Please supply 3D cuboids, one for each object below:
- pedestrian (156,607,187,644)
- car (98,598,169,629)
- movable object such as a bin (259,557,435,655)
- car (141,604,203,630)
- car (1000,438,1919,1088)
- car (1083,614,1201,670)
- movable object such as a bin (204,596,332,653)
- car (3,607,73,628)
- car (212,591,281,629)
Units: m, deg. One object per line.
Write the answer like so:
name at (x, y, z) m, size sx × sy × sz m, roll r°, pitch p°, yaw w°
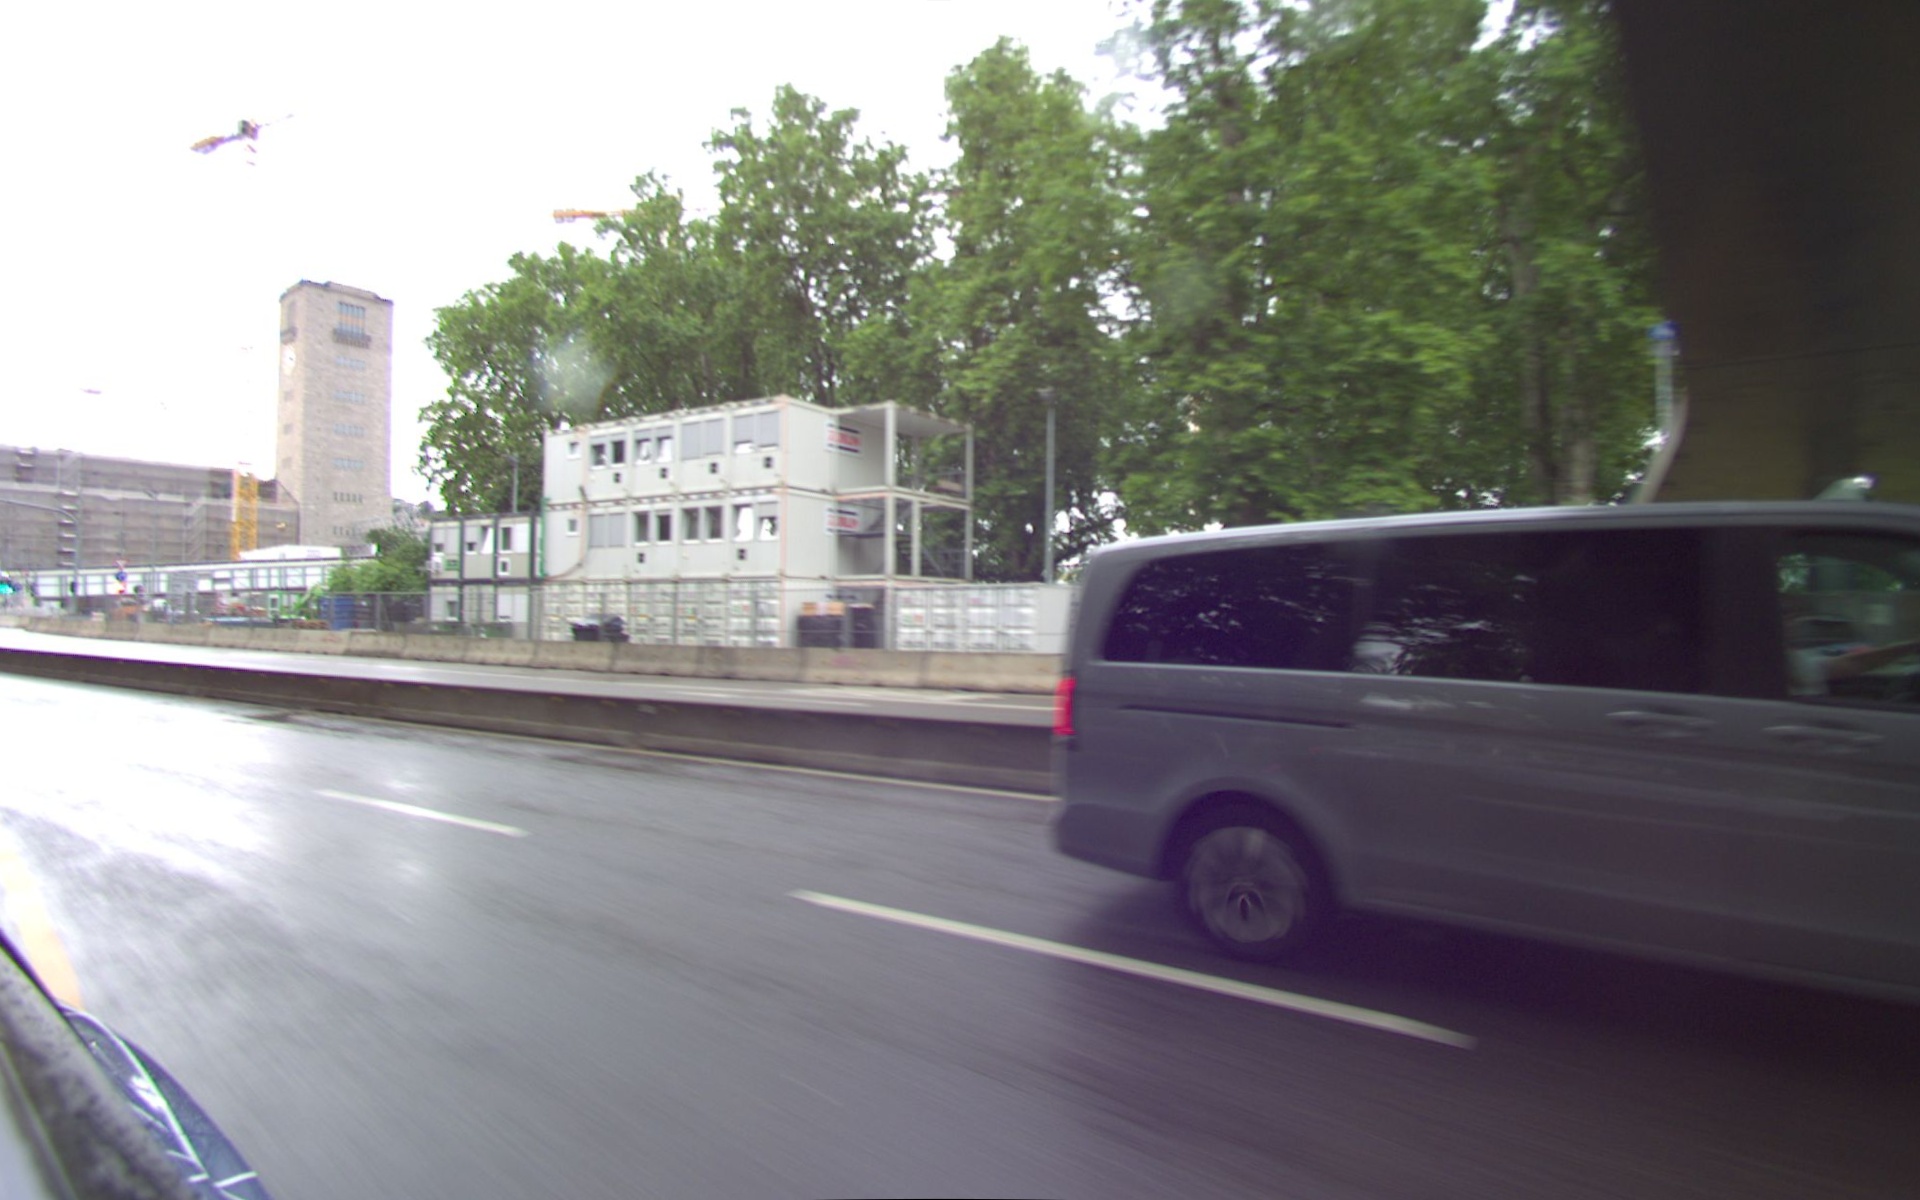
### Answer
pedestrian at (-44.051, 1.436, 56.539) m, size 1.173 × 2.029 × 1.168 m, roll 0°, pitch -1°, yaw 40°
car at (-61.477, 0.984, 75.261) m, size 5.557 × 2.117 × 1.981 m, roll 0°, pitch -3°, yaw 28°
movable object such as a bin at (-33.026, 0.357, 54.502) m, size 8.331 × 4.839 × 4.714 m, roll 0°, pitch -2°, yaw 32°
car at (-56.341, 1.193, 72.336) m, size 4.780 × 1.775 × 1.831 m, roll 0°, pitch -2°, yaw 31°
car at (2.921, 0.476, 4.019) m, size 5.346 × 1.870 × 1.976 m, roll -1°, pitch -1°, yaw 36°
car at (5.260, 1.196, 28.922) m, size 1.994 × 1.454 × 3.956 m, roll 0°, pitch -2°, yaw 32°
movable object such as a bin at (-40.598, 1.419, 59.356) m, size 6.366 × 3.152 × 3.903 m, roll 0°, pitch -2°, yaw 32°
car at (-92.652, 1.806, 101.730) m, size 4.950 × 2.029 × 2.002 m, roll 1°, pitch -2°, yaw -5°
car at (-59.362, 0.816, 84.201) m, size 6.145 × 3.089 × 2.258 m, roll 0°, pitch -2°, yaw 30°
